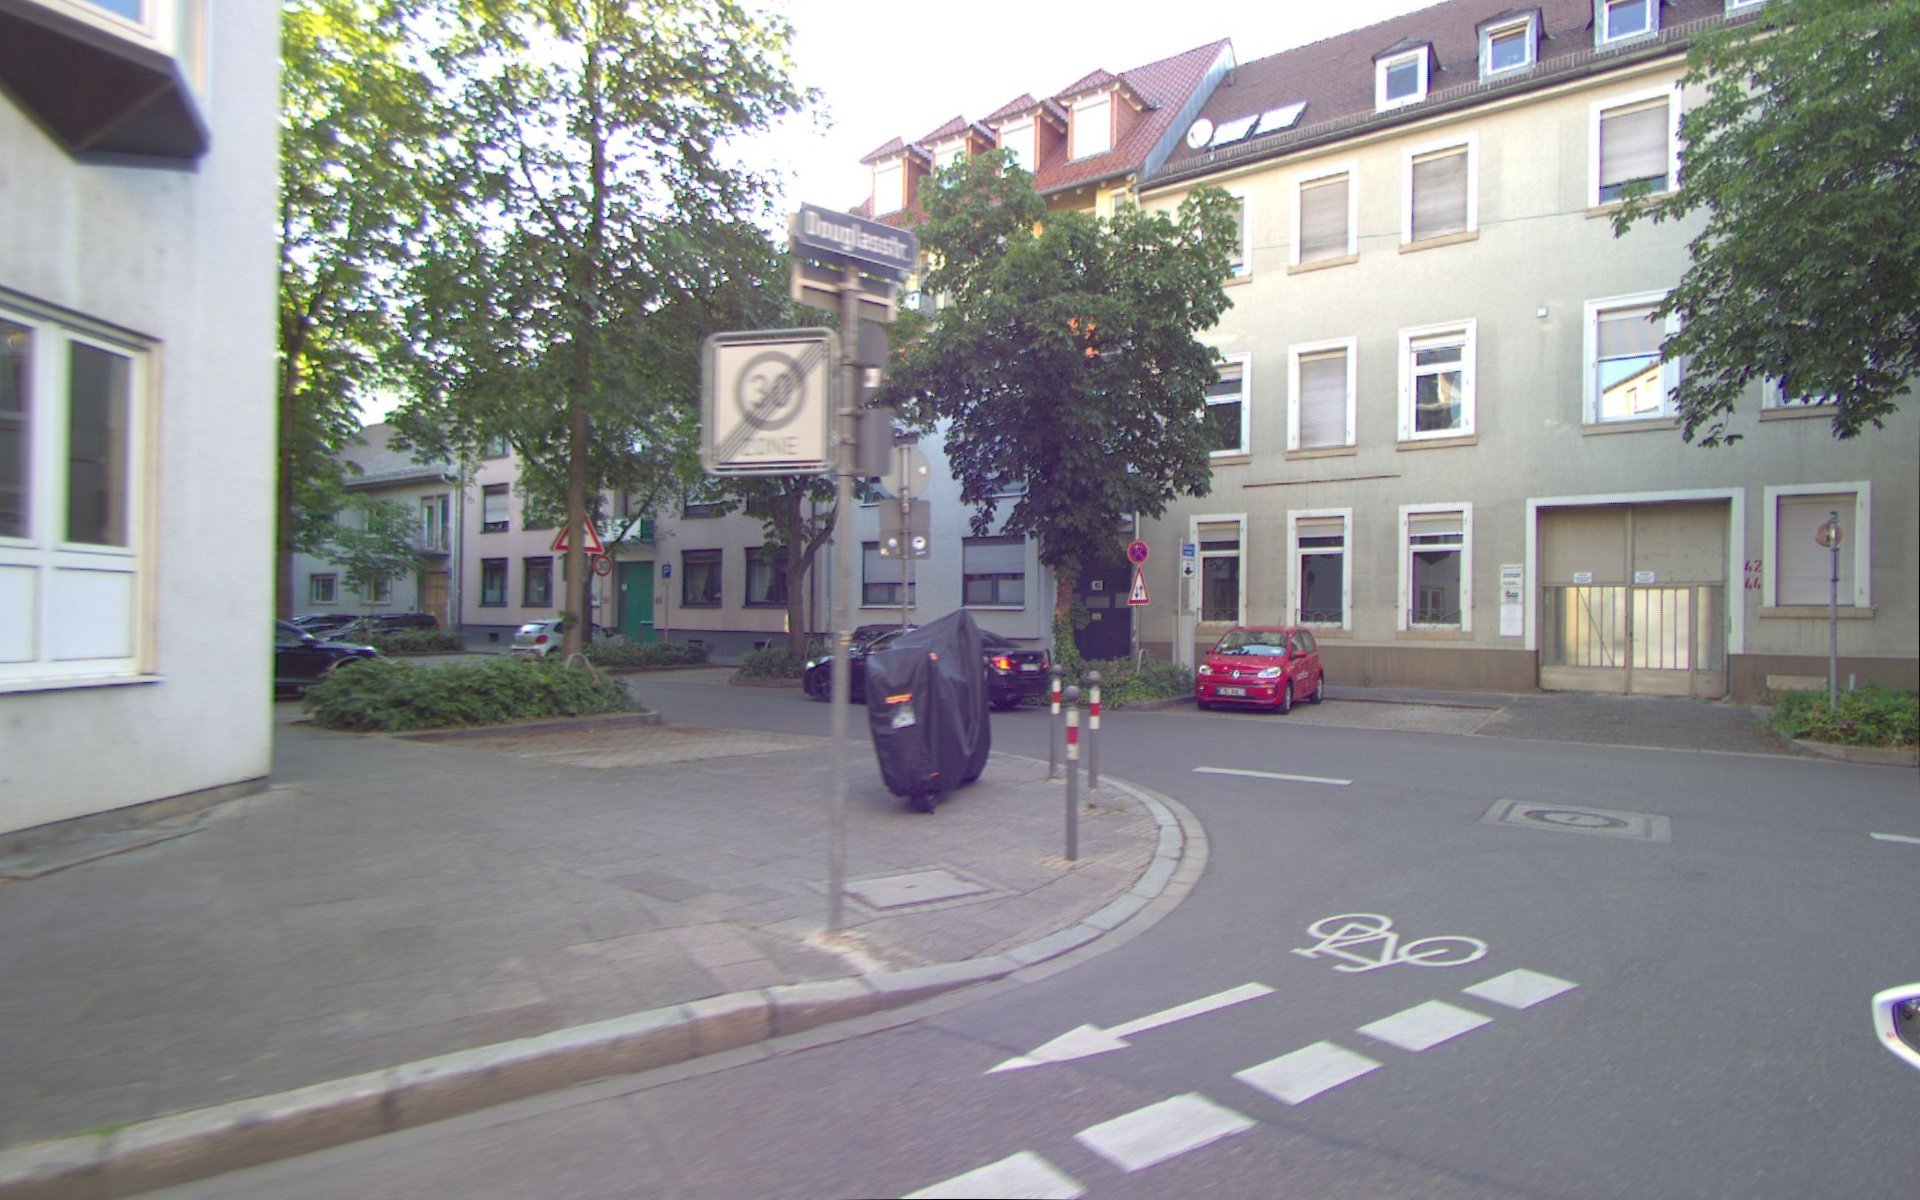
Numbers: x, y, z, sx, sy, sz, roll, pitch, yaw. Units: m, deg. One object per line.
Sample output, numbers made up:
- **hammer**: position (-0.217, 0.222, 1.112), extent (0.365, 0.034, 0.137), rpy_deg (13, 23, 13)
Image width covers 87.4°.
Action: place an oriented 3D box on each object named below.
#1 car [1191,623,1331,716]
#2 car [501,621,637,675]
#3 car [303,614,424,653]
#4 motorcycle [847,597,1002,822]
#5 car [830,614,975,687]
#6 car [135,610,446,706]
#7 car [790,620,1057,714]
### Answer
- **car**: position (5.623, 1.189, 18.507), extent (1.539, 1.495, 3.658), rpy_deg (0, -1, 33)
- **car**: position (-11.822, 1.414, 30.565), extent (1.539, 1.499, 3.659), rpy_deg (0, -1, 33)
- **car**: position (-22.609, 1.240, 38.202), extent (1.539, 1.411, 3.659), rpy_deg (0, -1, 33)
- **motorcycle**: position (-0.216, 0.793, 8.192), extent (0.656, 1.576, 2.163), rpy_deg (0, -1, 15)
- **car**: position (-1.254, 1.112, 23.383), extent (1.598, 1.447, 3.707), rpy_deg (0, 1, 30)
- **car**: position (-12.045, 1.024, 18.379), extent (1.804, 1.529, 4.358), rpy_deg (0, -3, 35)
- **car**: position (-0.716, 1.118, 17.974), extent (4.587, 1.469, 1.764), rpy_deg (0, -1, 32)
